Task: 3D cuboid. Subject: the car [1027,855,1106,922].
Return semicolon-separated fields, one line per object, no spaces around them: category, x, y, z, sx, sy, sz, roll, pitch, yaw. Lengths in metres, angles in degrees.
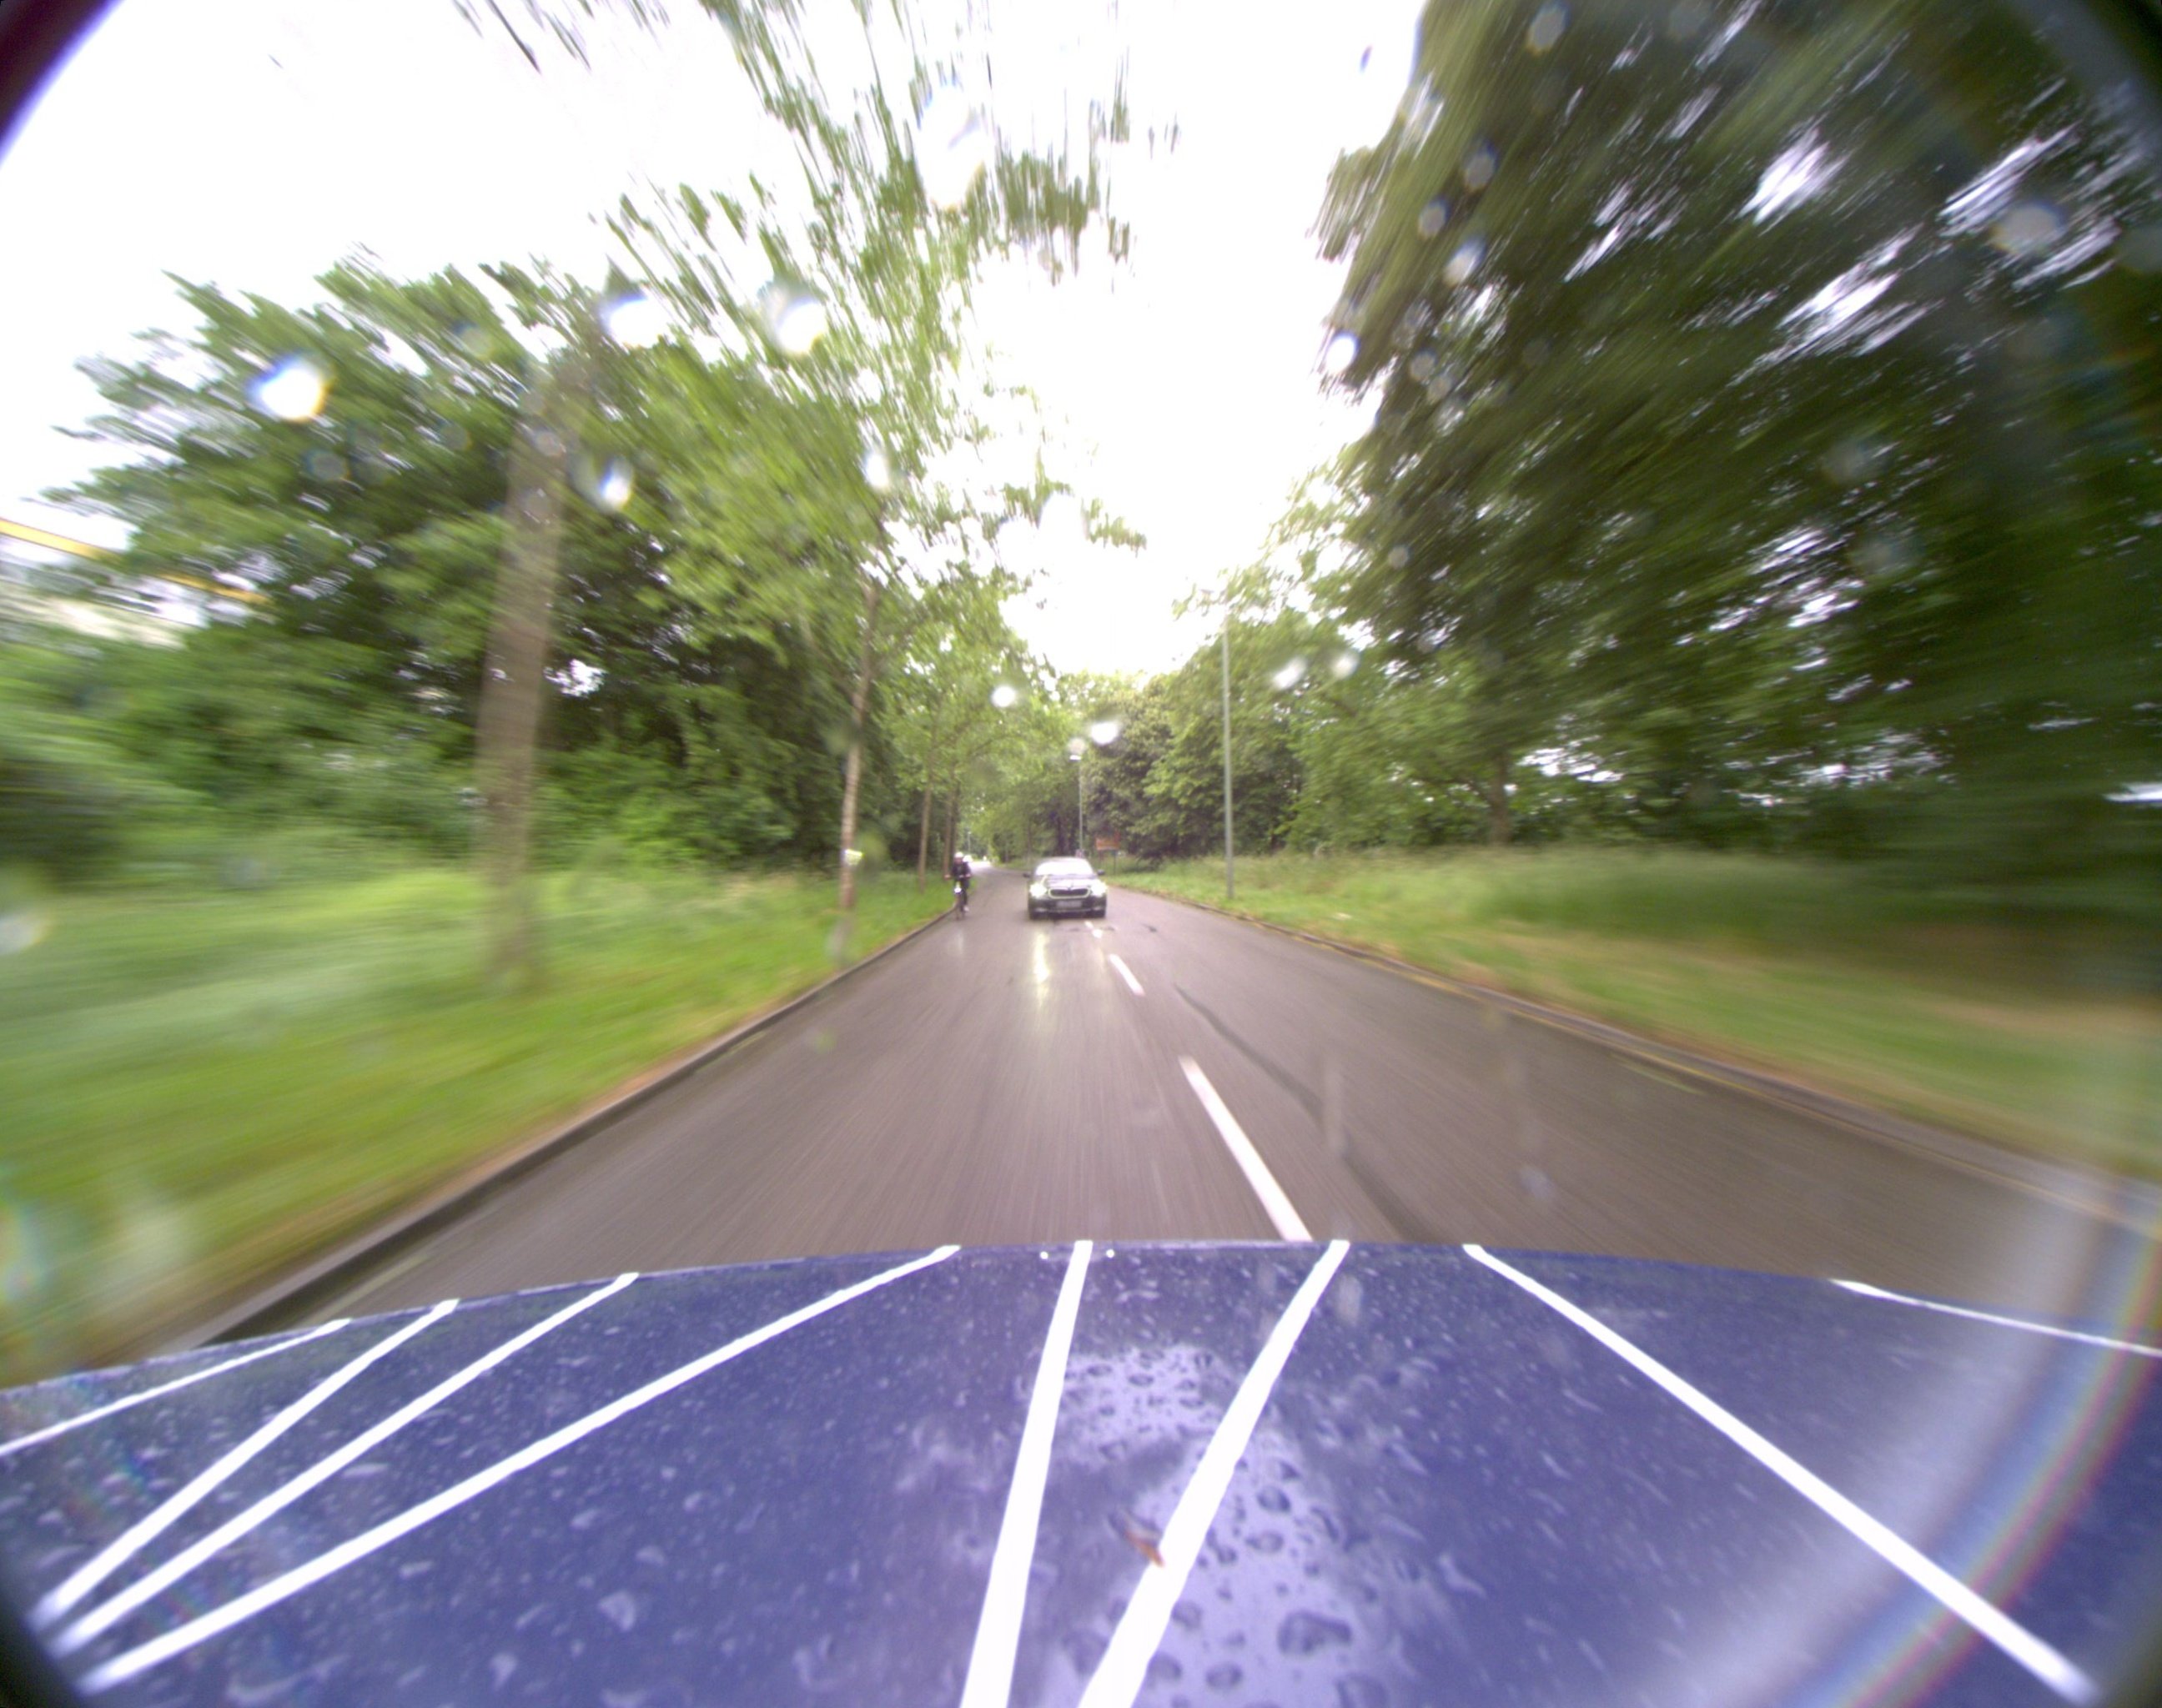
car;-0.291;0.818;20.277;1.843;1.486;4.901;-1;0;1

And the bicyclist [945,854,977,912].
bicyclist;-3.180;0.750;20.239;0.698;1.489;0.800;-2;1;-3

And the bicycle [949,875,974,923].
bicycle;-3.178;1.159;20.235;0.453;1.127;1.832;-3;1;-4
